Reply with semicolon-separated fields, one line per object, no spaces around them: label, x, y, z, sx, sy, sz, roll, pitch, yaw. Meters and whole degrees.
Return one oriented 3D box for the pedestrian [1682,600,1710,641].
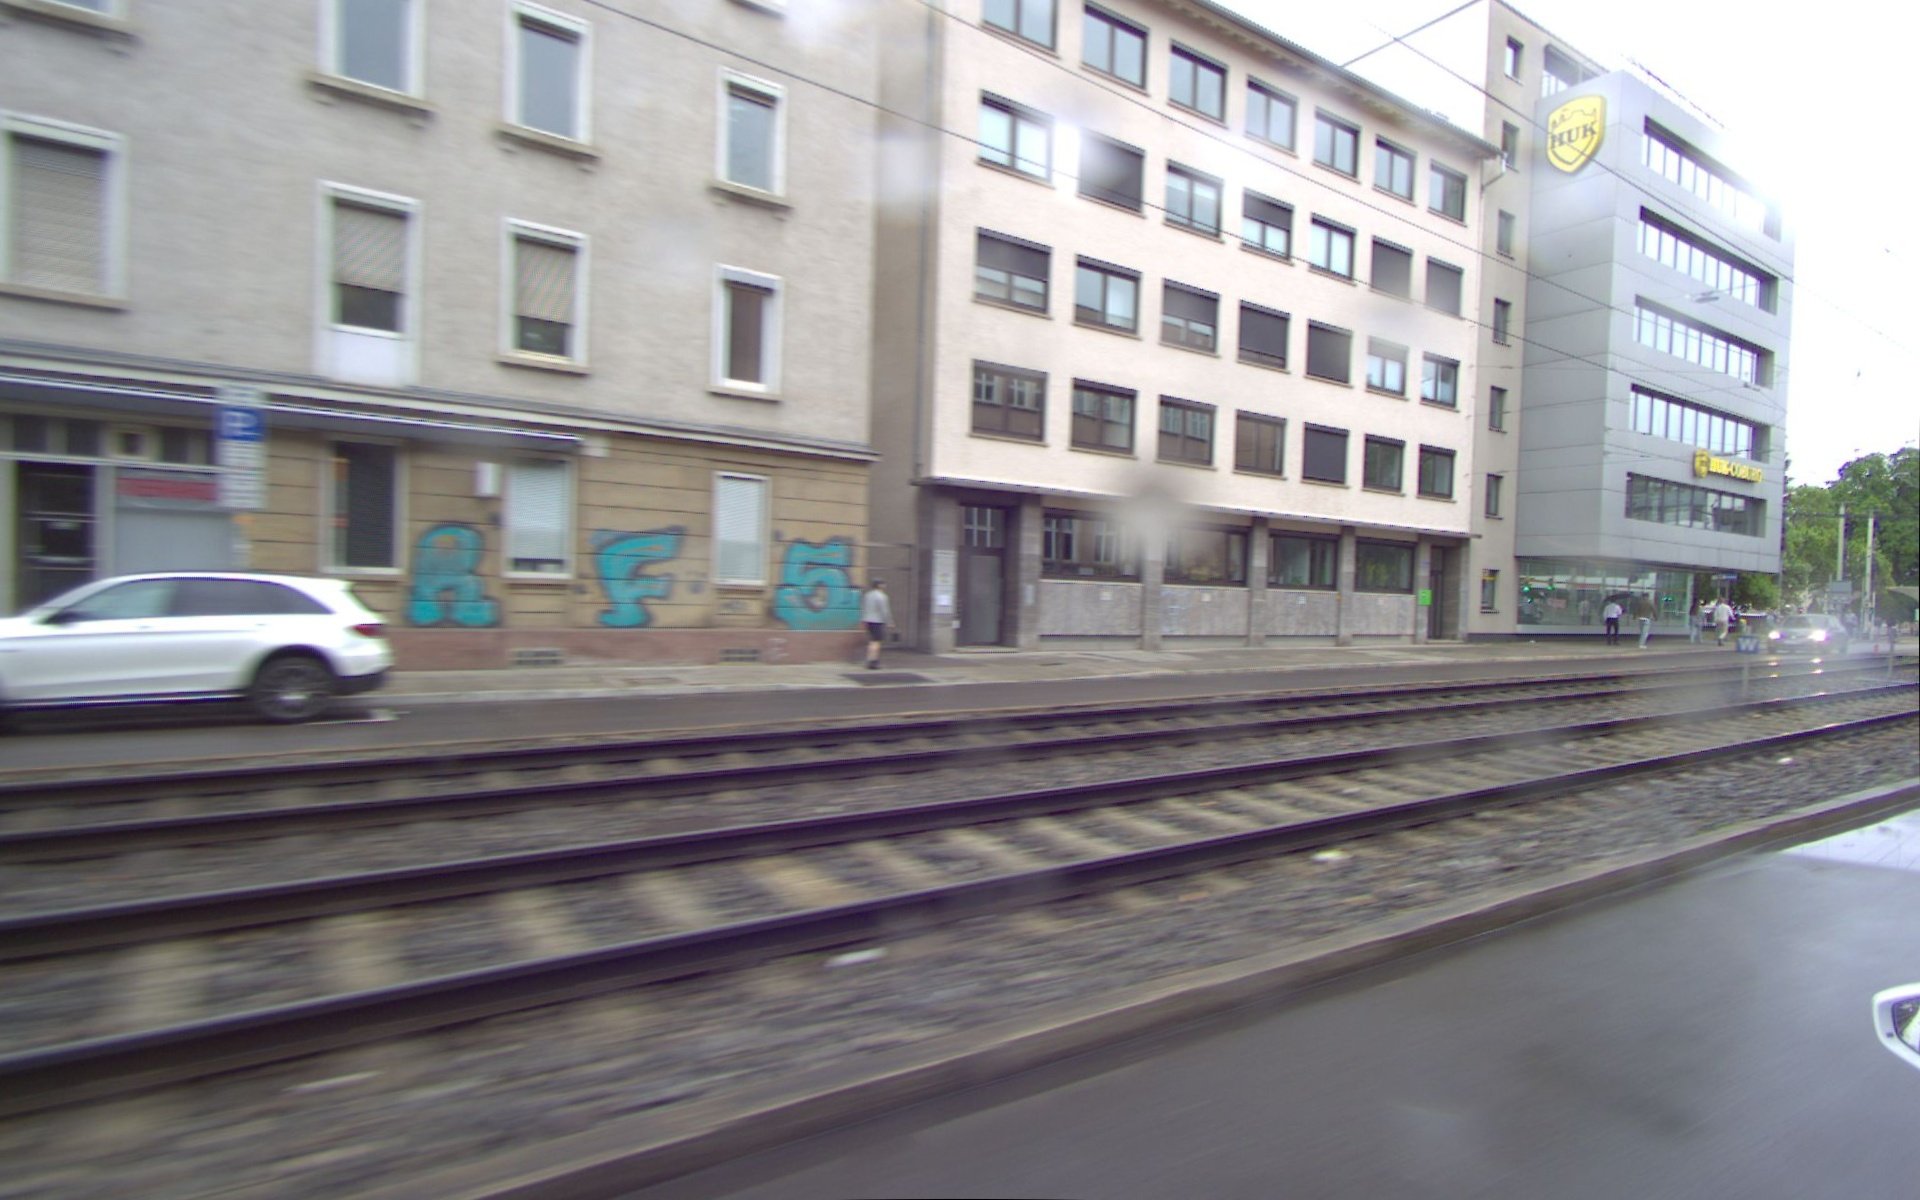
pedestrian;30.275;0.842;41.337;0.625;1.615;0.587;2;2;-16

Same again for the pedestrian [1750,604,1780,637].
pedestrian;41.089;1.030;51.300;0.948;1.615;0.589;4;2;21

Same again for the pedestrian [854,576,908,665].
pedestrian;-1.496;0.380;19.069;0.789;1.634;0.544;1;4;-31

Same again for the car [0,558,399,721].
car;-8.894;0.420;10.957;4.700;1.556;1.981;1;-2;-34

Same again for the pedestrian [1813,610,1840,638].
pedestrian;53.028;1.458;61.481;0.993;1.615;0.904;1;3;-34

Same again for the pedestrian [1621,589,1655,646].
pedestrian;25.003;0.659;37.041;0.802;2.041;0.657;1;3;-33

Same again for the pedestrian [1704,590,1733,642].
pedestrian;30.667;0.646;40.643;0.650;2.041;0.617;4;2;19

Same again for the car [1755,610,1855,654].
car;31.465;1.191;37.374;4.309;1.556;1.926;1;-2;-37

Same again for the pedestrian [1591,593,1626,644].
pedestrian;24.454;0.704;37.876;0.963;1.840;0.657;1;3;-33

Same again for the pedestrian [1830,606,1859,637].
pedestrian;56.027;1.358;63.622;0.900;1.888;0.998;2;2;-22
